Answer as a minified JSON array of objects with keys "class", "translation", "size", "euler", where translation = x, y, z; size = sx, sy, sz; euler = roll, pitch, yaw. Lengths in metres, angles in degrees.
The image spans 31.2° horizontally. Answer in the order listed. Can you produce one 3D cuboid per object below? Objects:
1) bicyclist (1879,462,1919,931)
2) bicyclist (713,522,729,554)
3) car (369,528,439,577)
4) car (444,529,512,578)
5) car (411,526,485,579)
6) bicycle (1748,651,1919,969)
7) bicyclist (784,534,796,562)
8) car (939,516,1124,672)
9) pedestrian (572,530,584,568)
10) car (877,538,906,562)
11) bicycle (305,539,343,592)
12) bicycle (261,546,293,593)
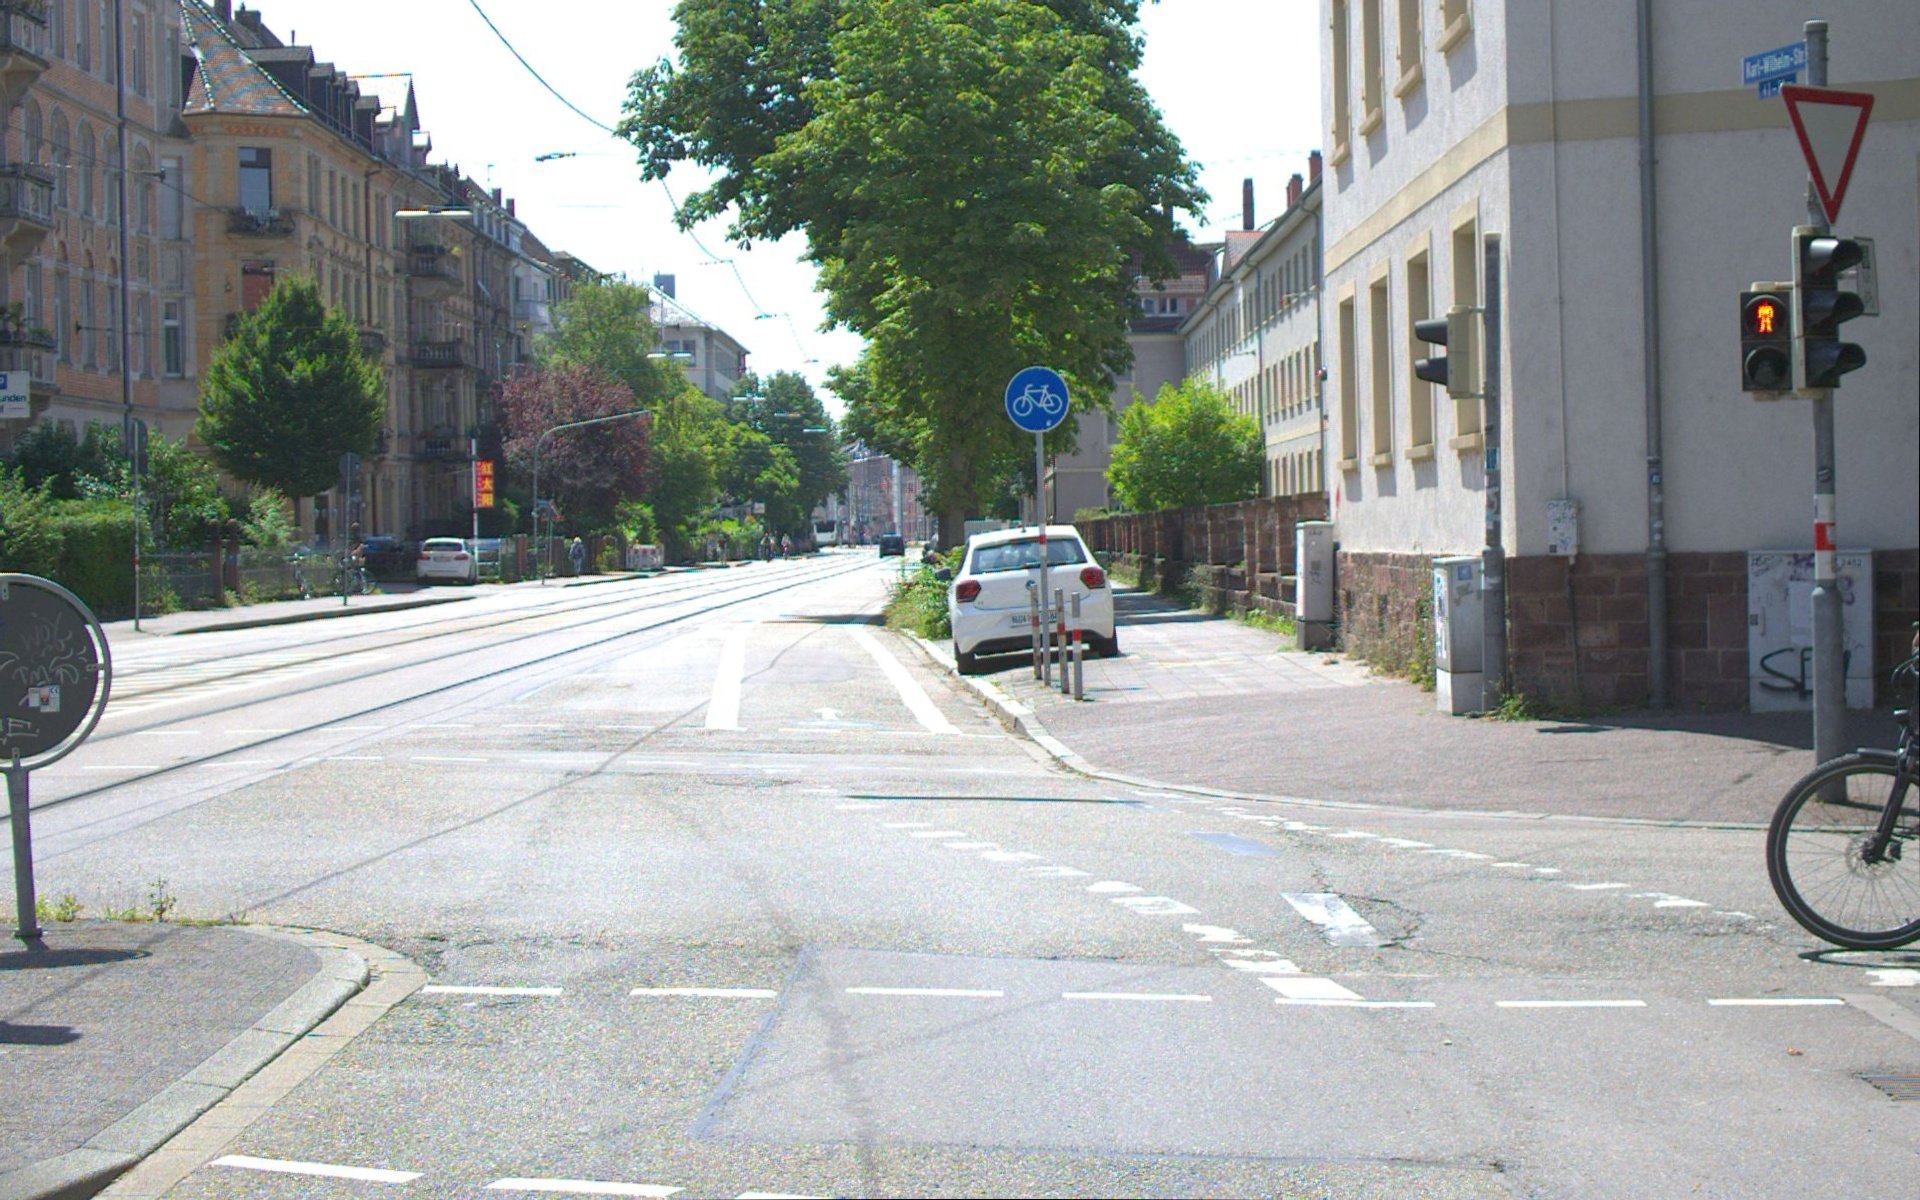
[{"class":"bicyclist","translation":[3.637,0.320,11.835],"size":[0.847,1.587,0.699],"euler":[0,1,20]},{"class":"bicyclist","translation":[-12.312,-3.197,176.917],"size":[0.727,1.623,1.079],"euler":[1,0,1]},{"class":"car","translation":[-20.018,-1.714,123.907],"size":[1.919,1.709,4.000],"euler":[1,1,-1]},{"class":"car","translation":[-17.332,-1.676,123.834],"size":[1.919,1.709,4.000],"euler":[1,1,-1]},{"class":"car","translation":[-17.188,-1.590,115.570],"size":[1.919,1.709,4.000],"euler":[1,1,-1]},{"class":"bicycle","translation":[3.654,0.716,11.832],"size":[1.762,1.053,0.699],"euler":[0,1,20]},{"class":"bicyclist","translation":[-10.988,-3.380,222.129],"size":[0.727,1.812,1.079],"euler":[1,0,1]},{"class":"car","translation":[0.722,-0.086,37.335],"size":[1.815,1.511,4.000],"euler":[-3,1,-1]},{"class":"pedestrian","translation":[-14.825,-1.977,133.351],"size":[0.406,1.456,0.436],"euler":[-1,1,-1]},{"class":"car","translation":[-4.417,-3.227,222.149],"size":[1.825,1.514,4.000],"euler":[1,1,-1]},{"class":"bicycle","translation":[-15.660,-0.858,84.673],"size":[0.677,1.274,1.919],"euler":[-1,1,-3]},{"class":"bicycle","translation":[-15.903,-0.707,80.031],"size":[0.677,1.061,1.919],"euler":[-1,1,-11]}]
